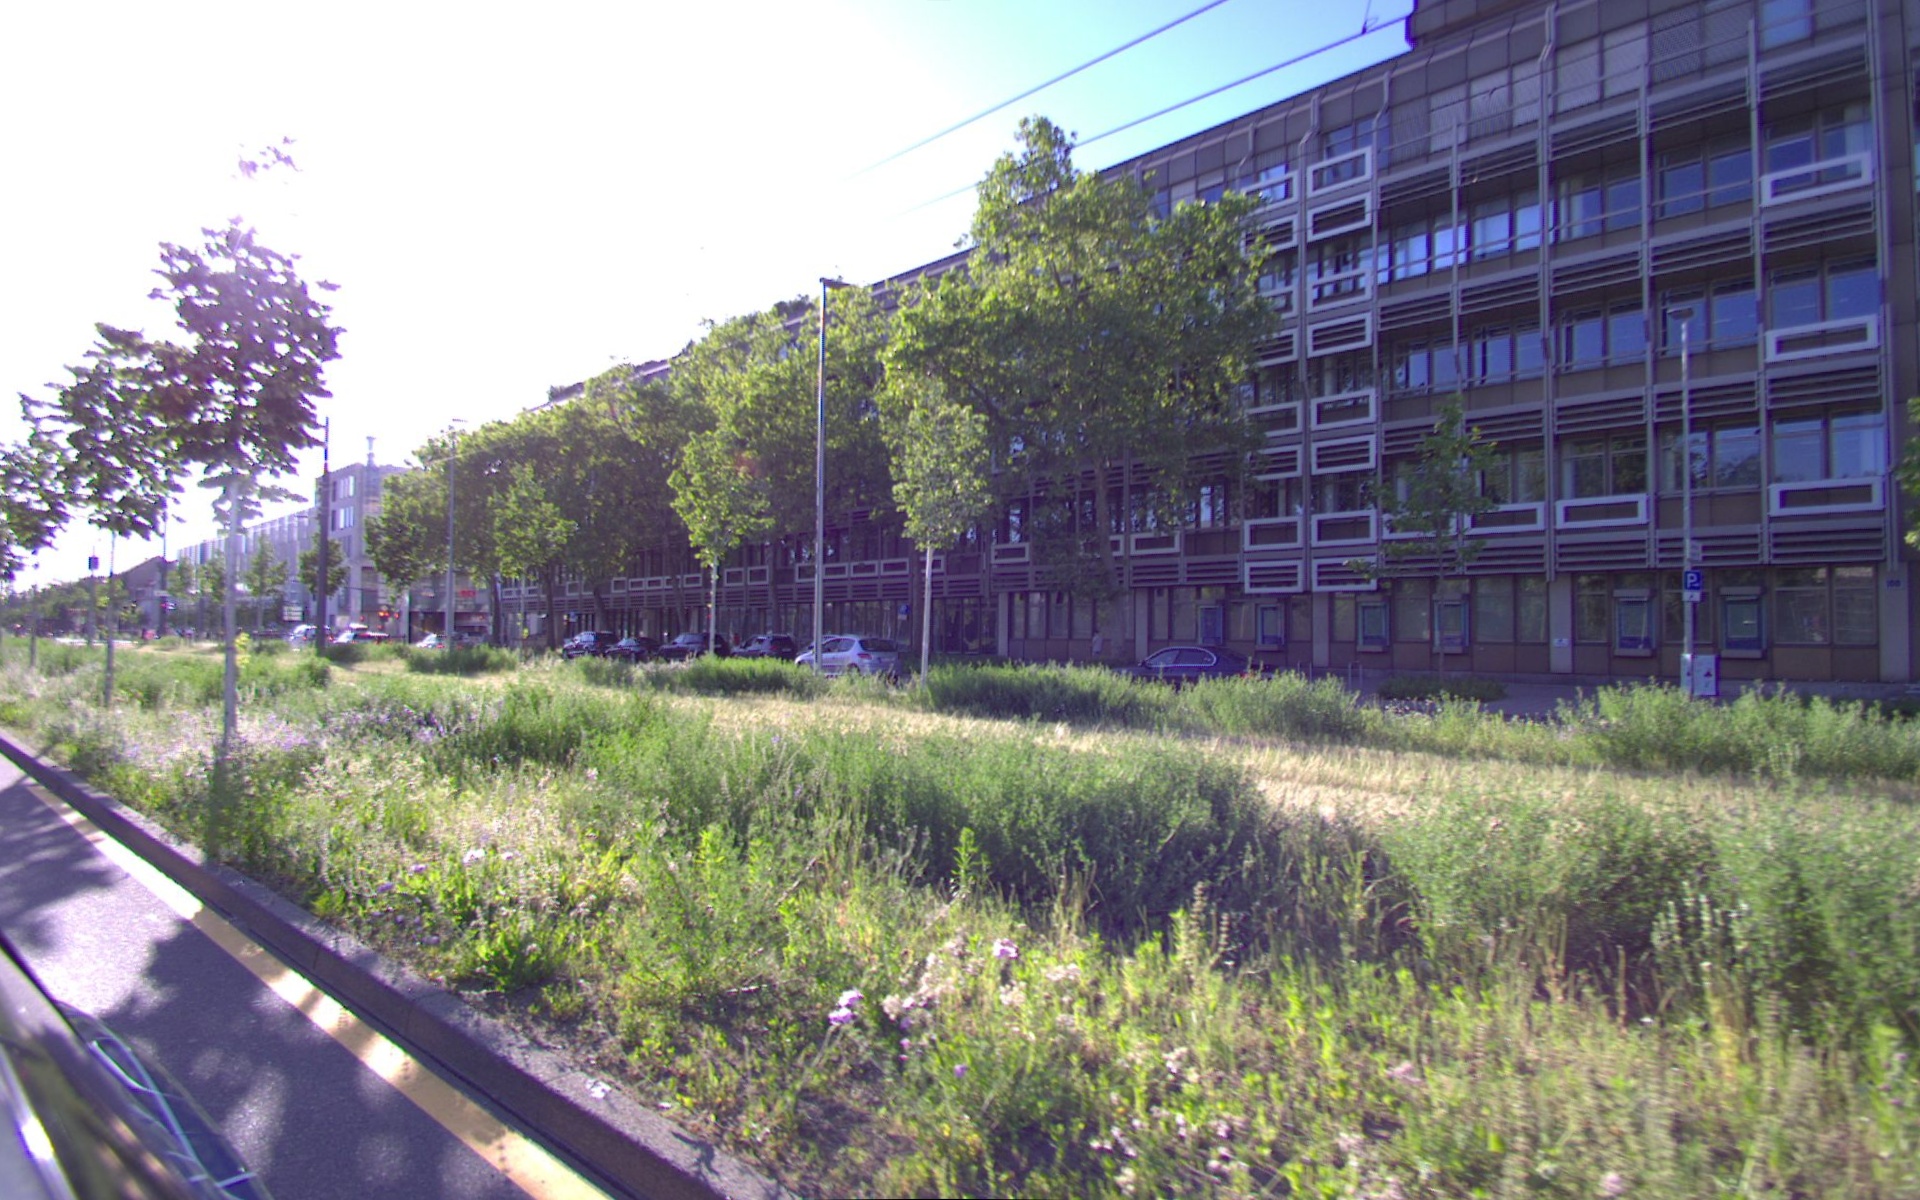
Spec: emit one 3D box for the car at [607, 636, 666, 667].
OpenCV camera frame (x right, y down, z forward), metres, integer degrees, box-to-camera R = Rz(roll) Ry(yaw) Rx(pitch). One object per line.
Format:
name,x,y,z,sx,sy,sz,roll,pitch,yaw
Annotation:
car,-17.699,2.795,55.347,3.526,1.614,1.491,-2,-1,42

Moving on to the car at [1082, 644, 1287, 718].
car,5.073,1.786,23.259,4.417,1.507,1.609,-2,-3,44

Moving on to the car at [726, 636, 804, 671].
car,-9.252,2.548,47.899,3.630,1.497,1.704,-5,-3,41

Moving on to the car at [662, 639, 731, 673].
car,-13.495,2.823,51.736,3.630,1.614,1.704,-2,-1,42

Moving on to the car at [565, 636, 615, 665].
car,-21.741,2.916,59.360,3.265,1.614,1.372,-2,-1,42

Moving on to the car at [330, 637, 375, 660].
car,-39.685,3.153,66.087,3.780,1.390,1.534,-2,-3,44

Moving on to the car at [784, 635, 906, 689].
car,-3.488,1.814,30.328,3.780,1.507,1.609,-2,-3,44

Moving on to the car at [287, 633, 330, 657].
car,-48.067,3.293,74.656,3.780,1.694,1.840,-2,-3,44

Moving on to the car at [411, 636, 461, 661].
car,-32.819,3.019,63.383,3.780,1.507,1.609,-2,-3,44

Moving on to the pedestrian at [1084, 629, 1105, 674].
pedestrian,5.355,2.041,40.305,0.639,1.763,0.477,-2,-4,44

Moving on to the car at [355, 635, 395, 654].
car,-42.898,3.258,74.198,3.780,1.390,1.534,-2,-3,44

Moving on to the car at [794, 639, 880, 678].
car,-5.310,2.476,43.600,3.630,1.556,1.704,-2,-1,42
